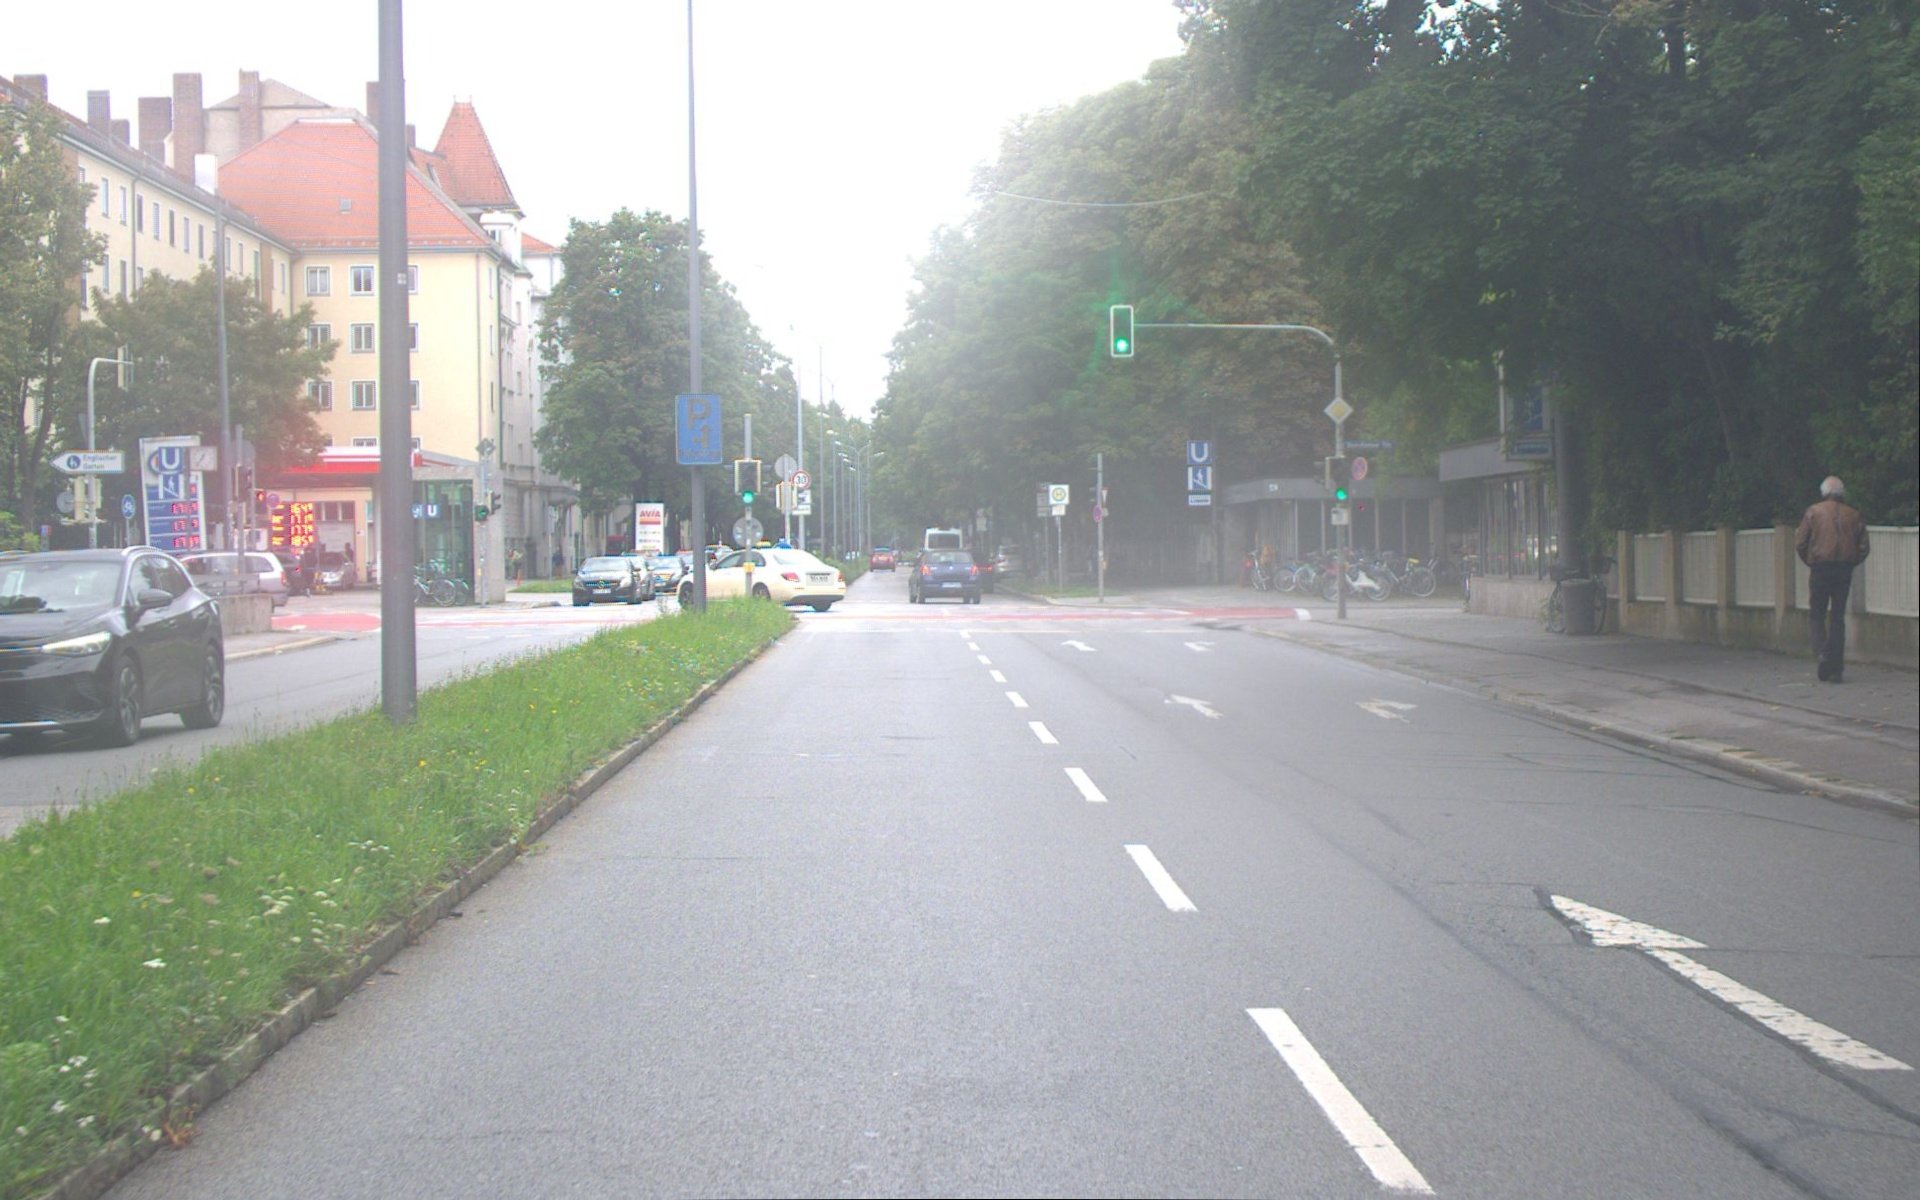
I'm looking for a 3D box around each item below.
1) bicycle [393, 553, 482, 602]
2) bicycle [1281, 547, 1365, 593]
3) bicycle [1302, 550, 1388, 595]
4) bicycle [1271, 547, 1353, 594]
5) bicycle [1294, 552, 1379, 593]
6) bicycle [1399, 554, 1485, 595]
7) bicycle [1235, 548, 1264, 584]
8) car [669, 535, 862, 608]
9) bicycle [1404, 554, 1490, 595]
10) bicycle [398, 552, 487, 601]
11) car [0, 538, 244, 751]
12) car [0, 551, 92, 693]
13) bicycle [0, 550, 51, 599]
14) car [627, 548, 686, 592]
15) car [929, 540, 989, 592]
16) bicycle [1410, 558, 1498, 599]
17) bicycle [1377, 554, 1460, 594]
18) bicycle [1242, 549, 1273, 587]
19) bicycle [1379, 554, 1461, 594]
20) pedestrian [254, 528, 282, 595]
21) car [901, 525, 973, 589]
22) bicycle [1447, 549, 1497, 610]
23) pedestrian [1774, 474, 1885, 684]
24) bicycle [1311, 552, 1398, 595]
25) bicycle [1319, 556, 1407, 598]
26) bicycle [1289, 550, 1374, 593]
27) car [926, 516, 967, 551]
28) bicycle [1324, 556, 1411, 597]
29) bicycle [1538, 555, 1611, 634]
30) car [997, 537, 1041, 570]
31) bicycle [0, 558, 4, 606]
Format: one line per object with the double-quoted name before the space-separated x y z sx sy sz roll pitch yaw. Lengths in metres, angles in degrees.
"bicycle" -14.062 -0.613 92.629 2.271 1.300 0.704 -1 1 0
"bicycle" 9.405 -0.779 89.109 2.143 1.174 0.603 0 1 8
"bicycle" 9.747 -0.696 86.930 2.143 1.097 0.603 0 1 8
"bicycle" 9.362 -0.790 91.411 2.143 1.214 0.603 0 1 8
"bicycle" 9.605 -0.699 87.644 2.143 1.011 0.603 0 1 8
"bicycle" 12.247 -0.655 87.357 2.143 1.011 0.634 0 1 8
"bicycle" 8.135 -0.959 96.649 0.556 1.011 2.016 -1 1 -3
"car" -4.518 -0.667 79.294 1.780 1.641 4.778 -1 1 -43
"bicycle" 12.255 -0.649 86.589 2.143 1.011 0.634 0 1 8
"bicycle" -14.052 -0.637 93.409 2.285 1.300 0.694 -1 1 0
"car" -7.375 0.317 28.519 1.875 1.579 4.621 -3 1 -1
"car" -11.520 0.225 40.364 1.649 1.579 3.790 0 1 1
"bicycle" -24.798 -0.668 89.012 2.393 1.246 0.792 1 0 -11
"car" -10.444 -1.047 118.456 1.759 1.455 4.000 -1 1 -1
"car" -0.018 -1.120 115.058 1.923 1.678 4.000 1 0 1
"bicycle" 12.322 -0.540 85.794 2.143 1.011 0.634 0 1 8
"bicycle" 11.964 -0.683 89.726 2.143 1.011 0.634 0 1 8
"bicycle" 8.132 -0.885 93.916 0.556 1.011 2.016 -1 1 -3
"bicycle" 12.111 -0.686 90.516 2.143 1.011 0.634 0 1 8
"pedestrian" -17.527 -0.966 87.054 0.534 1.689 0.577 0 1 8
"car" -0.649 -1.174 92.717 1.857 1.678 4.000 -1 1 -1
"bicycle" 9.515 -0.380 63.935 0.599 1.117 1.890 -1 0 -1
"pedestrian" 8.170 -0.202 32.325 0.777 1.935 0.802 -2 1 -1
"bicycle" 9.897 -0.673 86.276 2.143 1.067 0.603 0 1 8
"bicycle" 9.947 -0.560 84.849 2.143 1.011 0.603 0 1 8
"bicycle" 9.551 -0.745 88.372 2.143 1.082 0.603 0 1 8
"car" -0.723 -3.423 176.198 1.993 1.750 4.000 -1 1 -2
"bicycle" 10.135 -0.582 85.474 2.143 1.011 0.634 0 1 8
"bicycle" 8.708 -0.091 48.783 0.622 1.087 2.026 -1 1 -1
"car" 2.506 -2.000 147.418 1.743 1.358 3.807 -1 1 -1
"bicycle" -25.719 -0.446 88.280 2.179 1.231 0.766 -1 1 -10
